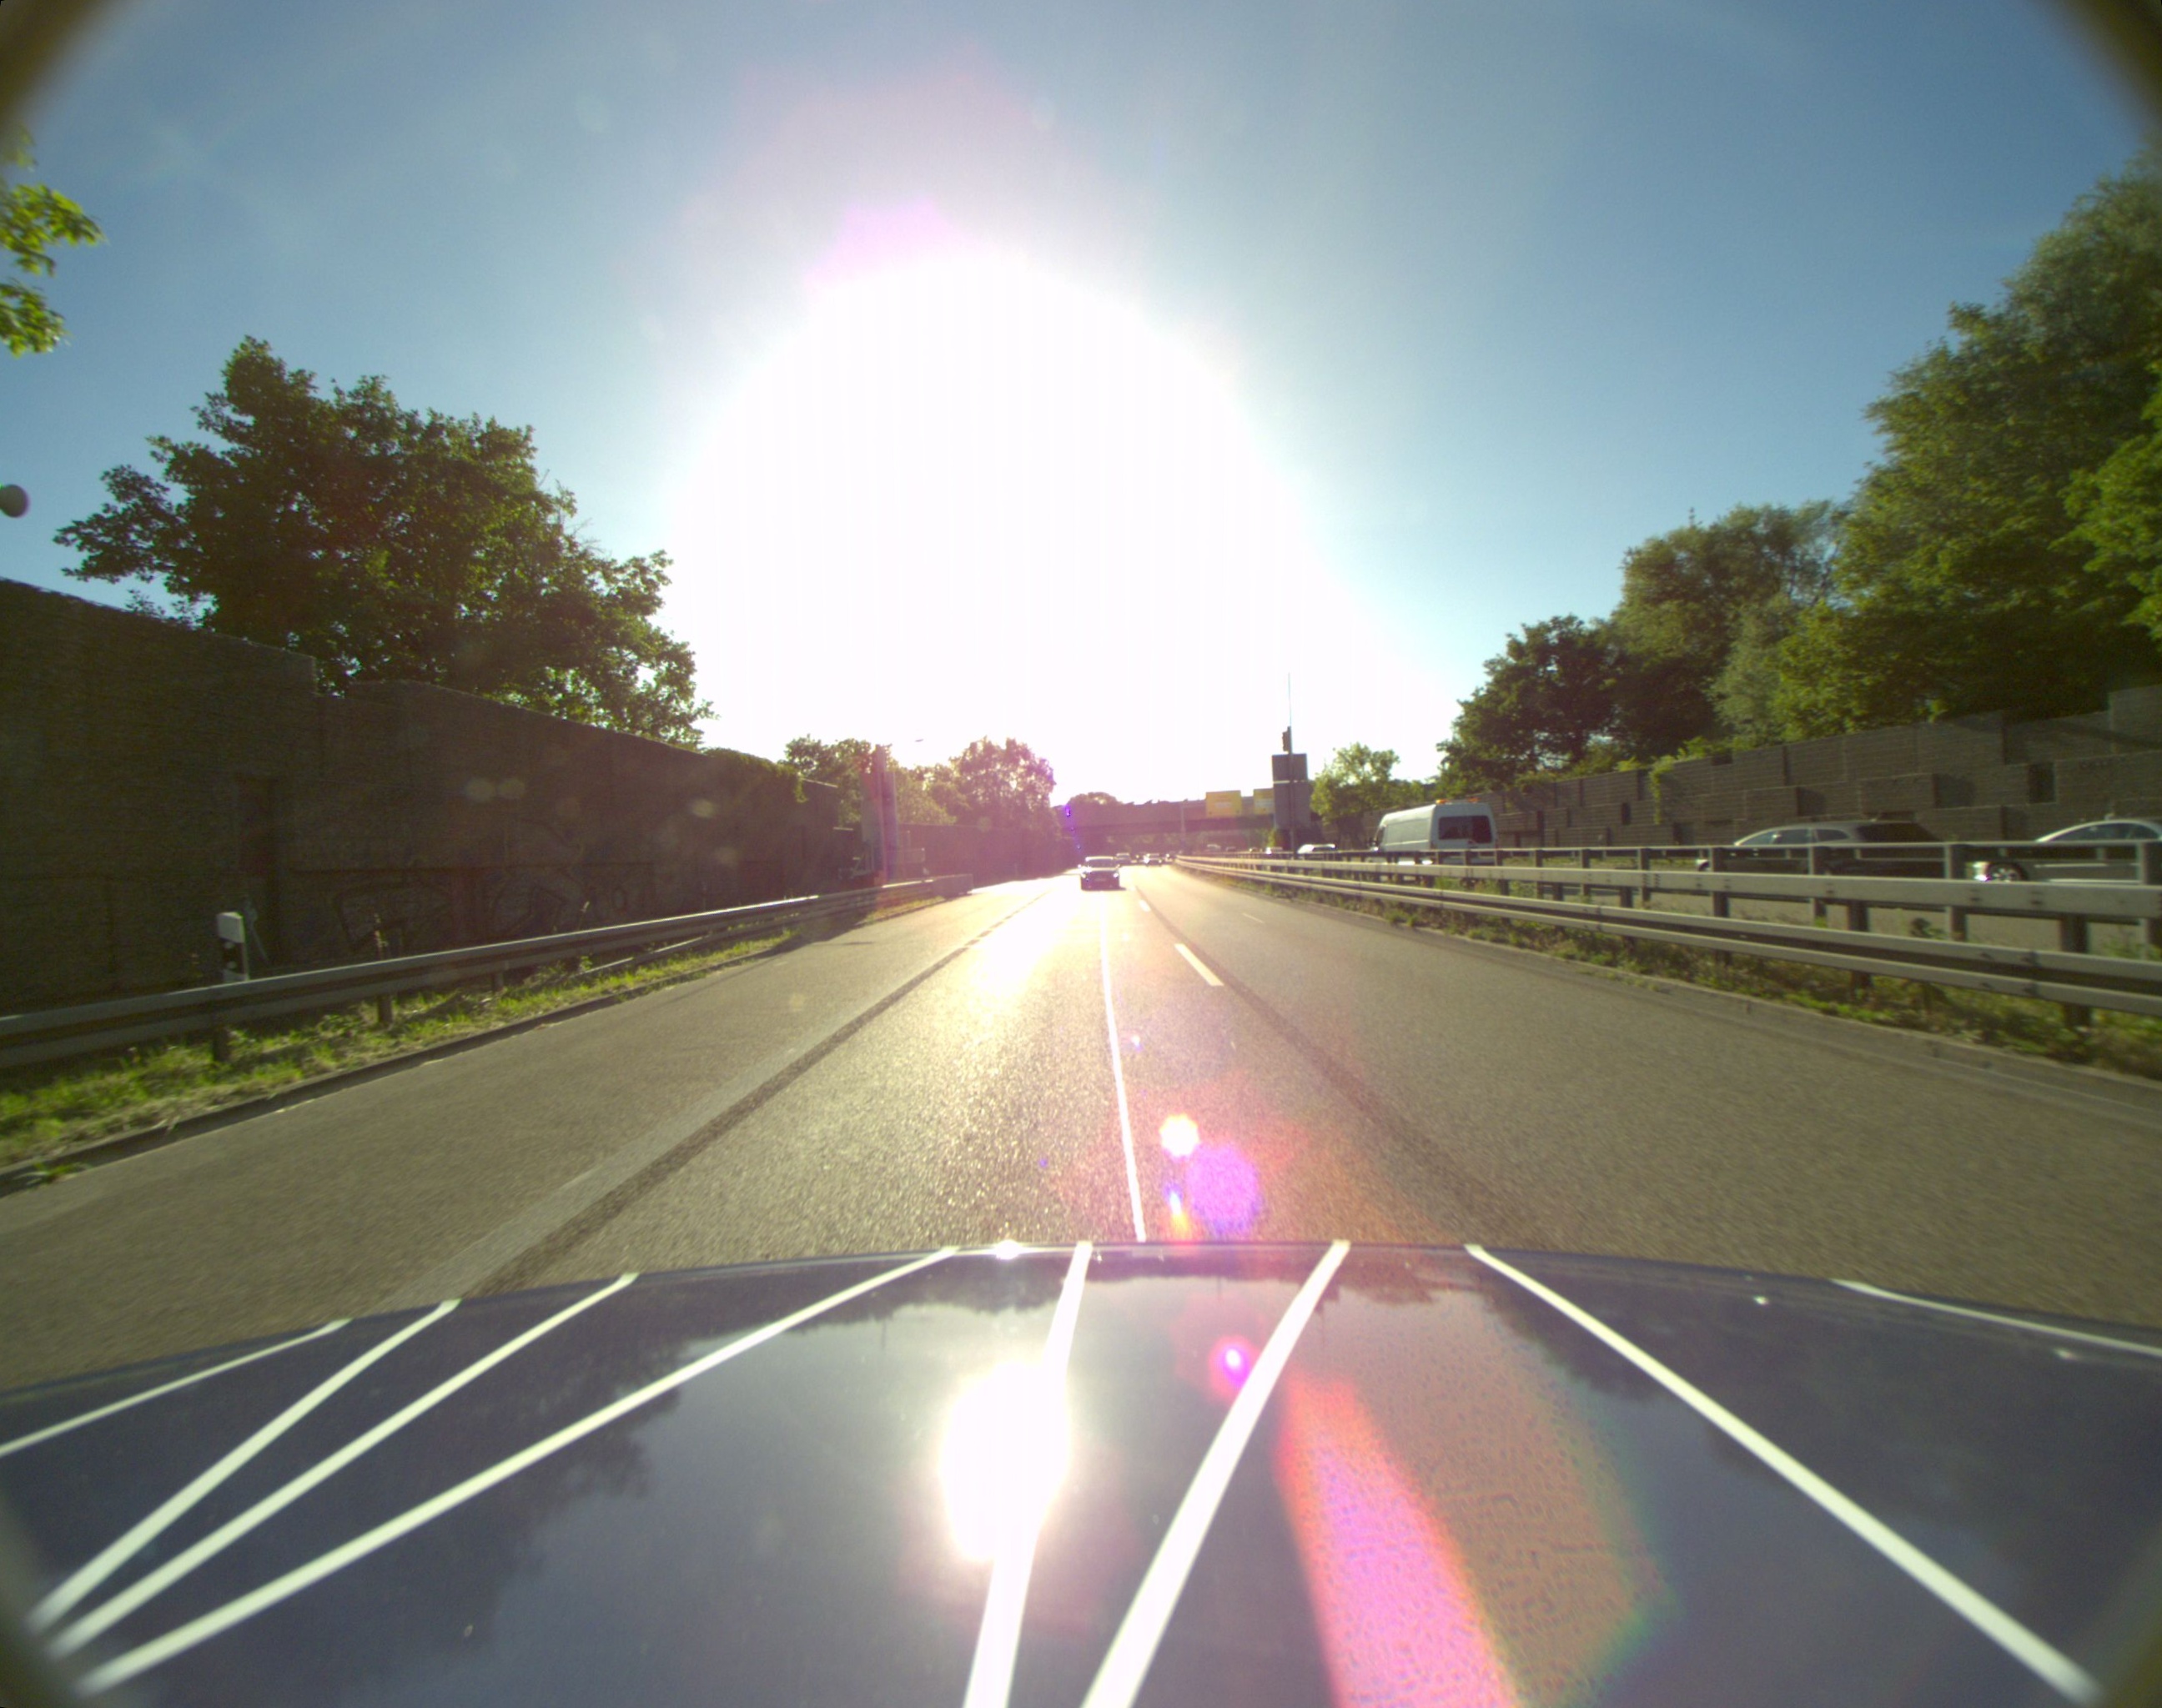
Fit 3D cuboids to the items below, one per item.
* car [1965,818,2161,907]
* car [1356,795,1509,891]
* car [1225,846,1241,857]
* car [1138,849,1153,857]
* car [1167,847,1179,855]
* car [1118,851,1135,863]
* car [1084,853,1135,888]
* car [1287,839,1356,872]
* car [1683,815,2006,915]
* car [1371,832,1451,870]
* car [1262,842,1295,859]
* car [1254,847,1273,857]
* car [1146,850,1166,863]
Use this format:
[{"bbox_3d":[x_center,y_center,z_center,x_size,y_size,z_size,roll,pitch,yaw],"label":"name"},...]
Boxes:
[{"bbox_3d":[18.574,0.106,13.028,1.999,1.379,4.028,-5,0,-2],"label":"car"},{"bbox_3d":[11.495,-0.309,25.564,2.126,2.667,6.589,-5,0,2],"label":"car"},{"bbox_3d":[24.711,-0.390,123.698,1.902,1.564,4.810,-5,0,5],"label":"car"},{"bbox_3d":[11.986,-0.152,140.707,1.996,1.406,4.836,-3,0,15],"label":"car"},{"bbox_3d":[18.558,-0.666,152.661,1.997,1.406,4.834,-3,0,10],"label":"car"},{"bbox_3d":[5.967,0.320,98.741,1.998,1.406,4.832,-3,0,5],"label":"car"},{"bbox_3d":[1.410,0.728,35.229,1.998,1.406,4.832,-2,0,6],"label":"car"},{"bbox_3d":[12.253,0.085,39.049,1.998,1.425,5.090,-5,0,2],"label":"car"},{"bbox_3d":[15.310,0.205,15.732,1.906,1.610,4.696,-5,0,1],"label":"car"},{"bbox_3d":[16.068,-0.132,37.285,1.998,1.586,4.622,-5,0,2],"label":"car"},{"bbox_3d":[18.621,-0.305,71.923,1.998,1.471,4.535,-5,0,2],"label":"car"},{"bbox_3d":[25.227,-0.277,105.187,1.901,1.413,4.136,-1,0,5],"label":"car"},{"bbox_3d":[8.498,0.280,86.348,1.998,1.406,4.832,-3,0,3],"label":"car"}]
